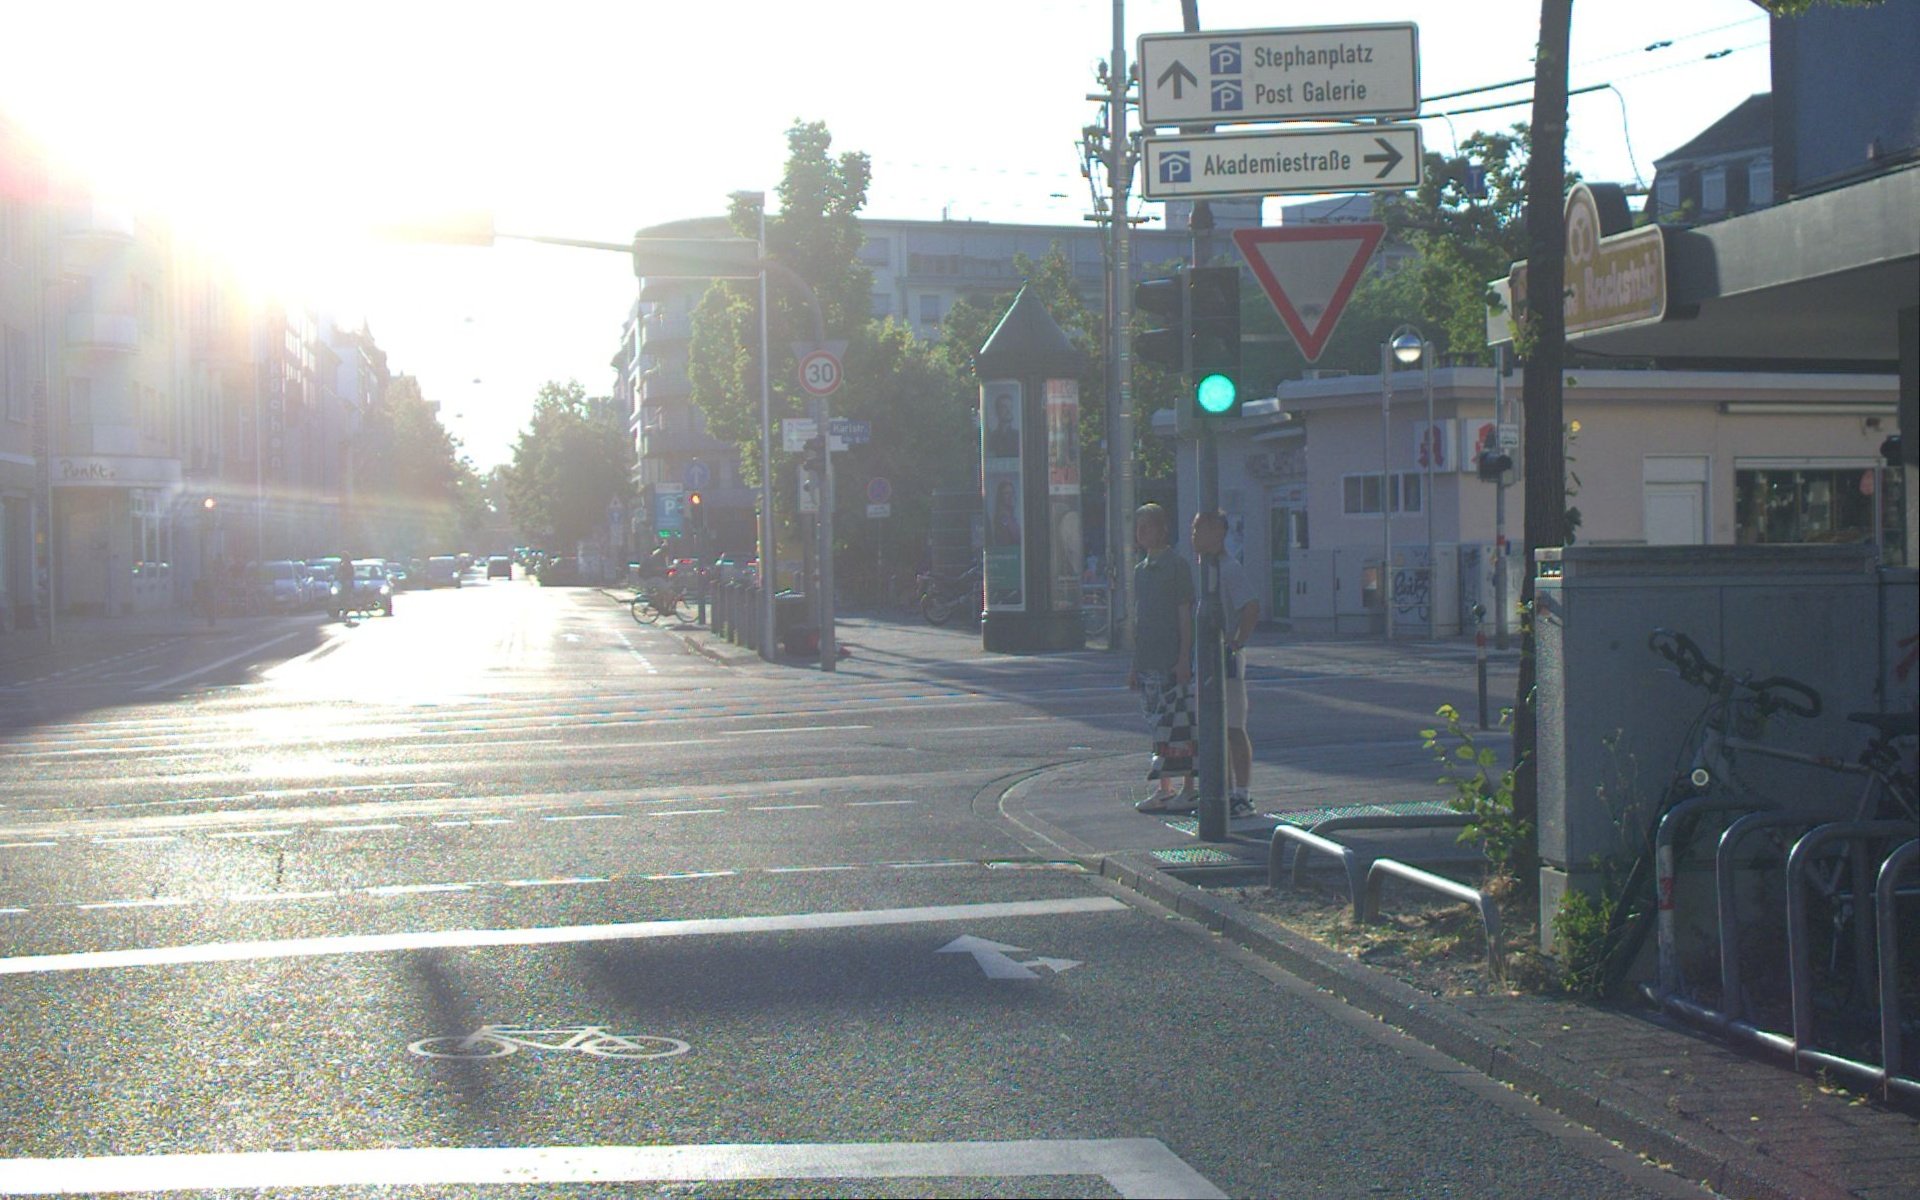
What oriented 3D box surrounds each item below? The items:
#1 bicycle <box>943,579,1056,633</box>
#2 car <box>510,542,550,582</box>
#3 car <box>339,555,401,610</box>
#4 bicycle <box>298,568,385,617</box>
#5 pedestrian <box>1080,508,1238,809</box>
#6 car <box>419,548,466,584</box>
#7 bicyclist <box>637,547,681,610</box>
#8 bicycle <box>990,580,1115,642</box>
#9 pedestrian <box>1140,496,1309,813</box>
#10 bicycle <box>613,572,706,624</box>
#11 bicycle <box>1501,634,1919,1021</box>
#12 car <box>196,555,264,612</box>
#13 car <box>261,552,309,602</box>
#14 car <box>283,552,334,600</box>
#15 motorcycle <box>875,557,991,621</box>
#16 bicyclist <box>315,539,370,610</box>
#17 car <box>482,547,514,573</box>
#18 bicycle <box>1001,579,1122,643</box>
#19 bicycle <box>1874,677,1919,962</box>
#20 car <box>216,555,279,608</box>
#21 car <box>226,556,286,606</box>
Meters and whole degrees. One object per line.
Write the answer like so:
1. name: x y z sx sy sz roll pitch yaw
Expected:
1. bicycle: 0.740 0.116 63.893 2.078 0.979 0.560 -1 0 1
2. car: -22.077 -1.945 176.686 1.993 2.007 4.001 1 0 -7
3. car: -16.017 -0.461 93.429 1.544 1.463 3.353 0 0 -8
4. bicycle: -15.613 -0.192 86.802 2.119 1.200 0.500 1 0 14
5. pedestrian: 1.192 0.339 20.647 0.585 1.767 0.749 -1 1 -38
6. car: -25.460 -1.685 169.223 1.993 1.678 4.001 -1 1 -5
7. bicyclist: -7.157 -0.511 81.835 0.899 1.476 0.735 1 0 7
8. bicycle: 1.590 0.182 59.251 2.147 1.040 0.560 -1 0 1
9. pedestrian: 1.515 0.300 19.726 0.637 1.767 0.749 -1 1 -28
10. bicycle: -7.147 -0.037 81.814 2.118 1.200 0.500 1 0 6
11. bicycle: 2.633 0.719 11.201 1.656 1.190 0.477 0 1 -12
12. car: -19.860 -0.467 93.595 1.544 1.478 3.353 -1 1 -8
13. car: -21.365 -0.724 108.887 1.306 1.577 2.889 0 0 -8
14. car: -21.723 -0.795 114.677 1.482 1.554 3.259 0 0 -8
15. motorcycle: -0.531 -0.215 66.959 2.234 1.197 0.720 -1 1 -2
16. bicyclist: -15.576 -0.640 86.759 1.130 1.784 0.764 1 0 15
17. car: -32.651 -2.834 242.978 1.993 1.809 4.001 -1 1 -5
18. bicycle: 1.710 0.186 58.189 2.020 1.041 0.560 -1 0 1
19. bicycle: 3.755 0.800 11.857 0.403 1.007 1.671 -3 1 -13
20. car: -20.141 -0.518 97.264 1.544 1.464 3.353 0 0 -8
21. car: -20.906 -0.568 102.187 1.544 1.464 3.353 0 0 -8
